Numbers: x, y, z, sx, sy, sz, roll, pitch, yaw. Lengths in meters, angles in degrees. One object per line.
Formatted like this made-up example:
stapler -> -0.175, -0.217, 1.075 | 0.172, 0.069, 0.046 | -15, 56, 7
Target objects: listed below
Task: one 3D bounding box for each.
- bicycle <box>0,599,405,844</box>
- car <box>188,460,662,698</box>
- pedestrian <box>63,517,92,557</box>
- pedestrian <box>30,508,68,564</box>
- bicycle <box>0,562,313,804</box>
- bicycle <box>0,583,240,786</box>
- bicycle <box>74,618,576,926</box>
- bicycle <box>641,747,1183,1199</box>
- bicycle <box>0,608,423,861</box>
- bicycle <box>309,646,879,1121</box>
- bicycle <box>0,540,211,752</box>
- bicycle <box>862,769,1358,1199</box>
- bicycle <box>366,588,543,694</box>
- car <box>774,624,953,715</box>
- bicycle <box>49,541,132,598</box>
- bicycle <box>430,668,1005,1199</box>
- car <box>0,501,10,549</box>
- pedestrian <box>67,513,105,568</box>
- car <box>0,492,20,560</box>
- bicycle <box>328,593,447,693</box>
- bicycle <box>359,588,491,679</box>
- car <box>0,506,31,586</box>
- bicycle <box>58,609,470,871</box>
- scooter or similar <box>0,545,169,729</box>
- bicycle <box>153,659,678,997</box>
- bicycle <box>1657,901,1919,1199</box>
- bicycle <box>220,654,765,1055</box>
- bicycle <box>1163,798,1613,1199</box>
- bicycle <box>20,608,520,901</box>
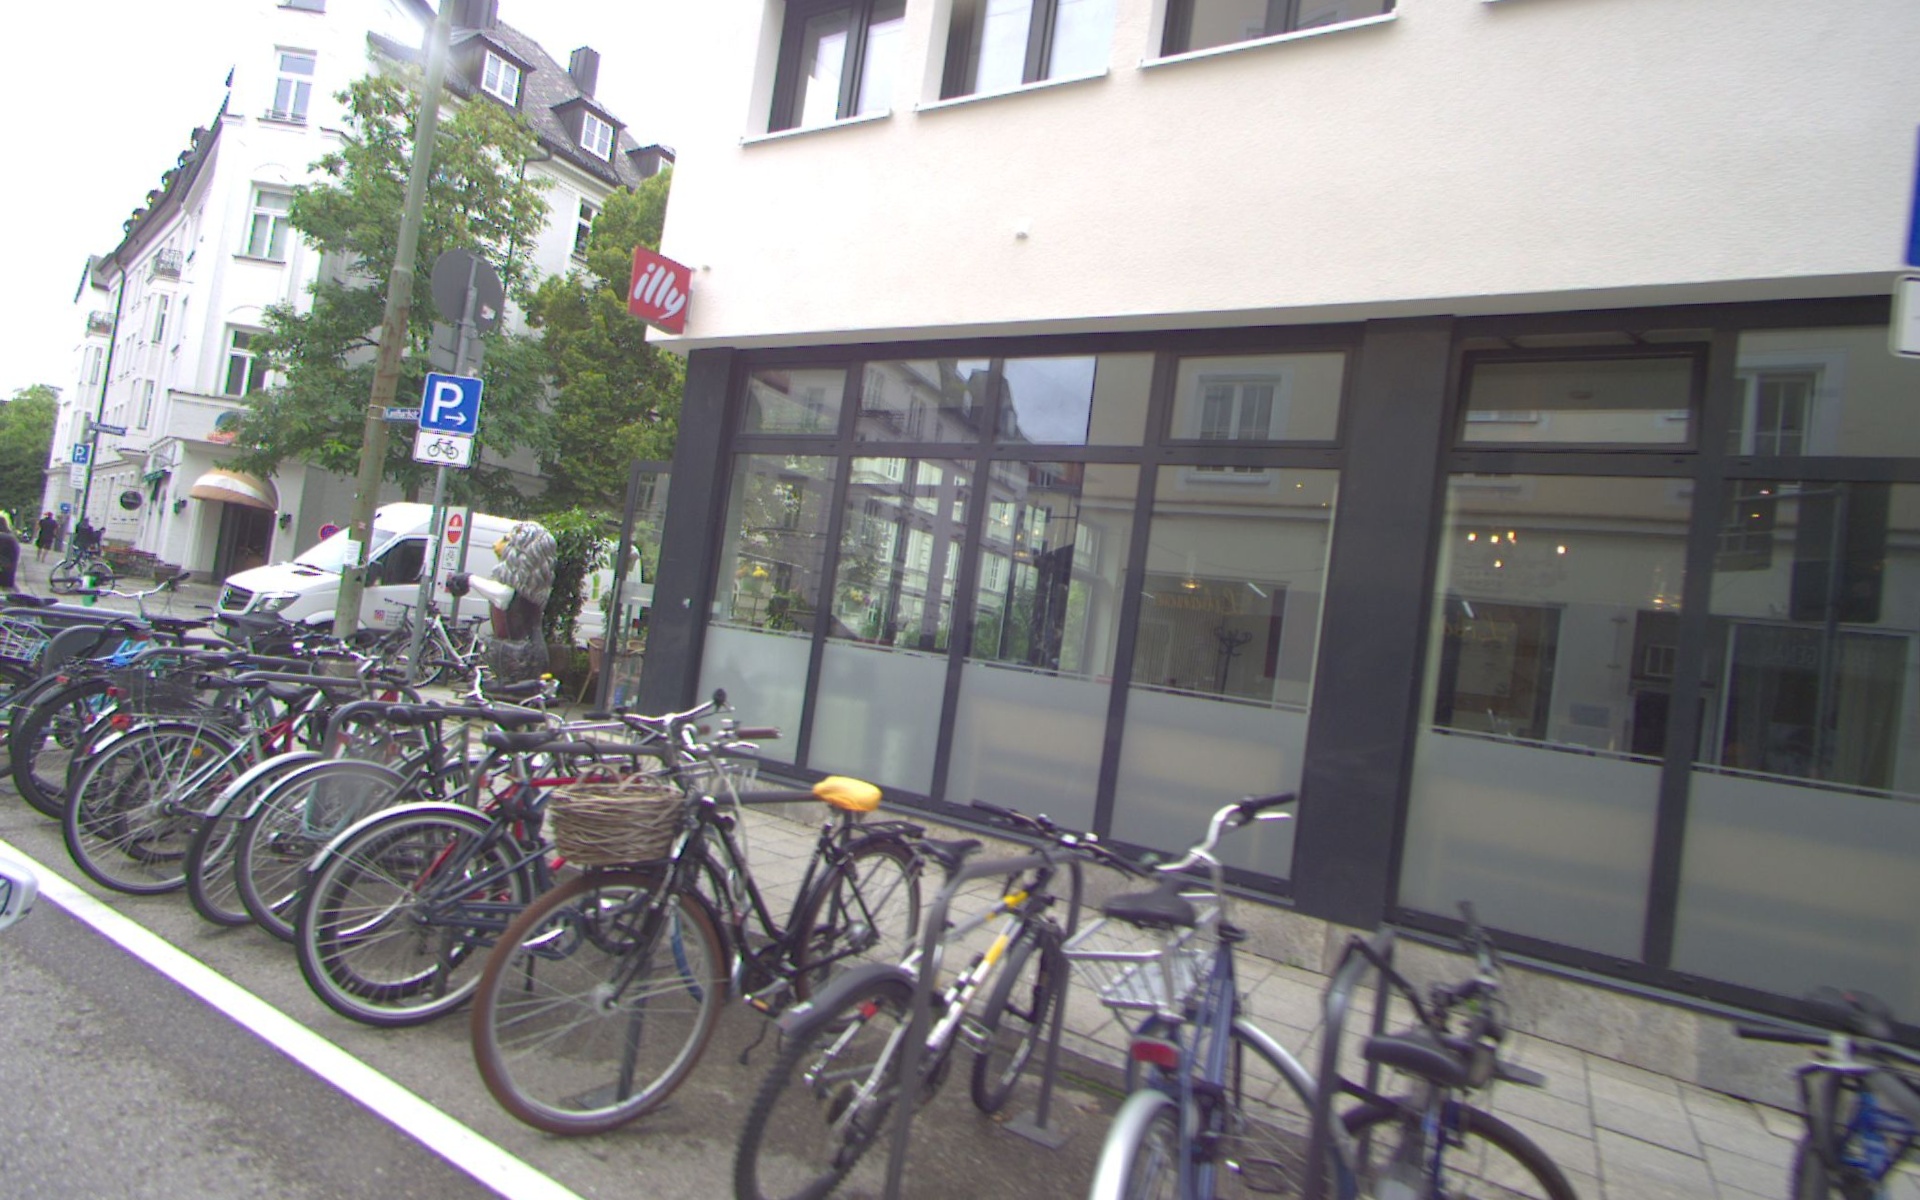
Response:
bicycle -> -4.107, 0.665, 5.545 | 0.444, 1.091, 1.746 | 8, -3, 28
car -> -7.844, -0.117, 15.542 | 2.027, 2.619, 5.903 | 8, -3, 36
pedestrian -> -43.892, -3.128, 50.053 | 0.775, 1.871, 0.851 | 10, -2, -37
pedestrian -> -33.224, -2.333, 36.703 | 0.777, 1.871, 1.010 | 10, -3, -44
bicycle -> -4.755, 0.511, 5.939 | 0.388, 1.220, 1.457 | 7, -3, 24
bicycle -> -5.261, 0.503, 5.964 | 0.455, 1.081, 1.457 | 7, -3, 24
bicycle -> -2.733, 0.744, 4.626 | 0.395, 1.091, 1.880 | 8, -3, 28
bicycle -> 0.035, 1.085, 2.962 | 0.555, 1.169, 1.881 | 8, -4, 29
bicycle -> -3.790, 0.696, 5.285 | 0.330, 1.091, 1.680 | 8, -2, 28
bicycle -> -1.114, 0.852, 3.613 | 0.556, 1.183, 1.899 | 7, -2, 28
bicycle -> -5.992, 0.316, 6.645 | 0.438, 1.299, 1.460 | 7, -3, 32
bicycle -> 0.496, 1.084, 2.421 | 0.480, 1.217, 1.880 | 8, -3, 29
bicycle -> -6.583, 0.564, 13.215 | 0.583, 1.139, 1.904 | 7, -4, 36
car -> -2.228, 1.735, 24.285 | 1.783, 1.585, 4.247 | 8, -3, 36
bicycle -> -18.693, -0.648, 21.629 | 1.723, 1.011, 0.540 | 7, 1, 22
bicycle -> -0.595, 0.906, 3.282 | 0.570, 1.218, 1.879 | 7, -2, 29
car -> -33.580, -2.554, 33.982 | 4.131, 1.942, 1.819 | 5, -6, 45
pedestrian -> -32.197, -2.183, 37.056 | 0.777, 1.871, 1.010 | 10, -3, -44
car -> -29.633, -2.389, 30.102 | 4.235, 1.889, 1.819 | 5, -6, 45
bicycle -> -7.405, 0.575, 13.051 | 0.335, 1.140, 1.179 | 7, -3, 38
bicycle -> -7.339, 0.488, 13.872 | 0.364, 1.083, 1.507 | 7, -3, 30
car -> -22.570, -1.409, 22.827 | 4.235, 1.652, 1.819 | 5, -6, 45
bicycle -> -3.429, 0.701, 5.147 | 0.371, 1.091, 1.618 | 8, -2, 28
scooter or similar -> -6.605, 0.258, 7.142 | 0.411, 1.223, 1.356 | 7, -3, 33
bicycle -> -2.140, 0.871, 4.300 | 0.554, 1.063, 1.880 | 5, -4, 28
bicycle -> 1.872, 1.316, 2.033 | 0.480, 1.090, 1.882 | 8, -5, 29
bicycle -> -1.594, 0.856, 3.858 | 0.432, 1.107, 1.880 | 8, -3, 28
bicycle -> 0.931, 1.052, 2.134 | 0.480, 1.119, 1.881 | 8, -4, 29
bicycle -> -3.119, 0.708, 4.820 | 0.401, 1.091, 1.880 | 8, -3, 28
